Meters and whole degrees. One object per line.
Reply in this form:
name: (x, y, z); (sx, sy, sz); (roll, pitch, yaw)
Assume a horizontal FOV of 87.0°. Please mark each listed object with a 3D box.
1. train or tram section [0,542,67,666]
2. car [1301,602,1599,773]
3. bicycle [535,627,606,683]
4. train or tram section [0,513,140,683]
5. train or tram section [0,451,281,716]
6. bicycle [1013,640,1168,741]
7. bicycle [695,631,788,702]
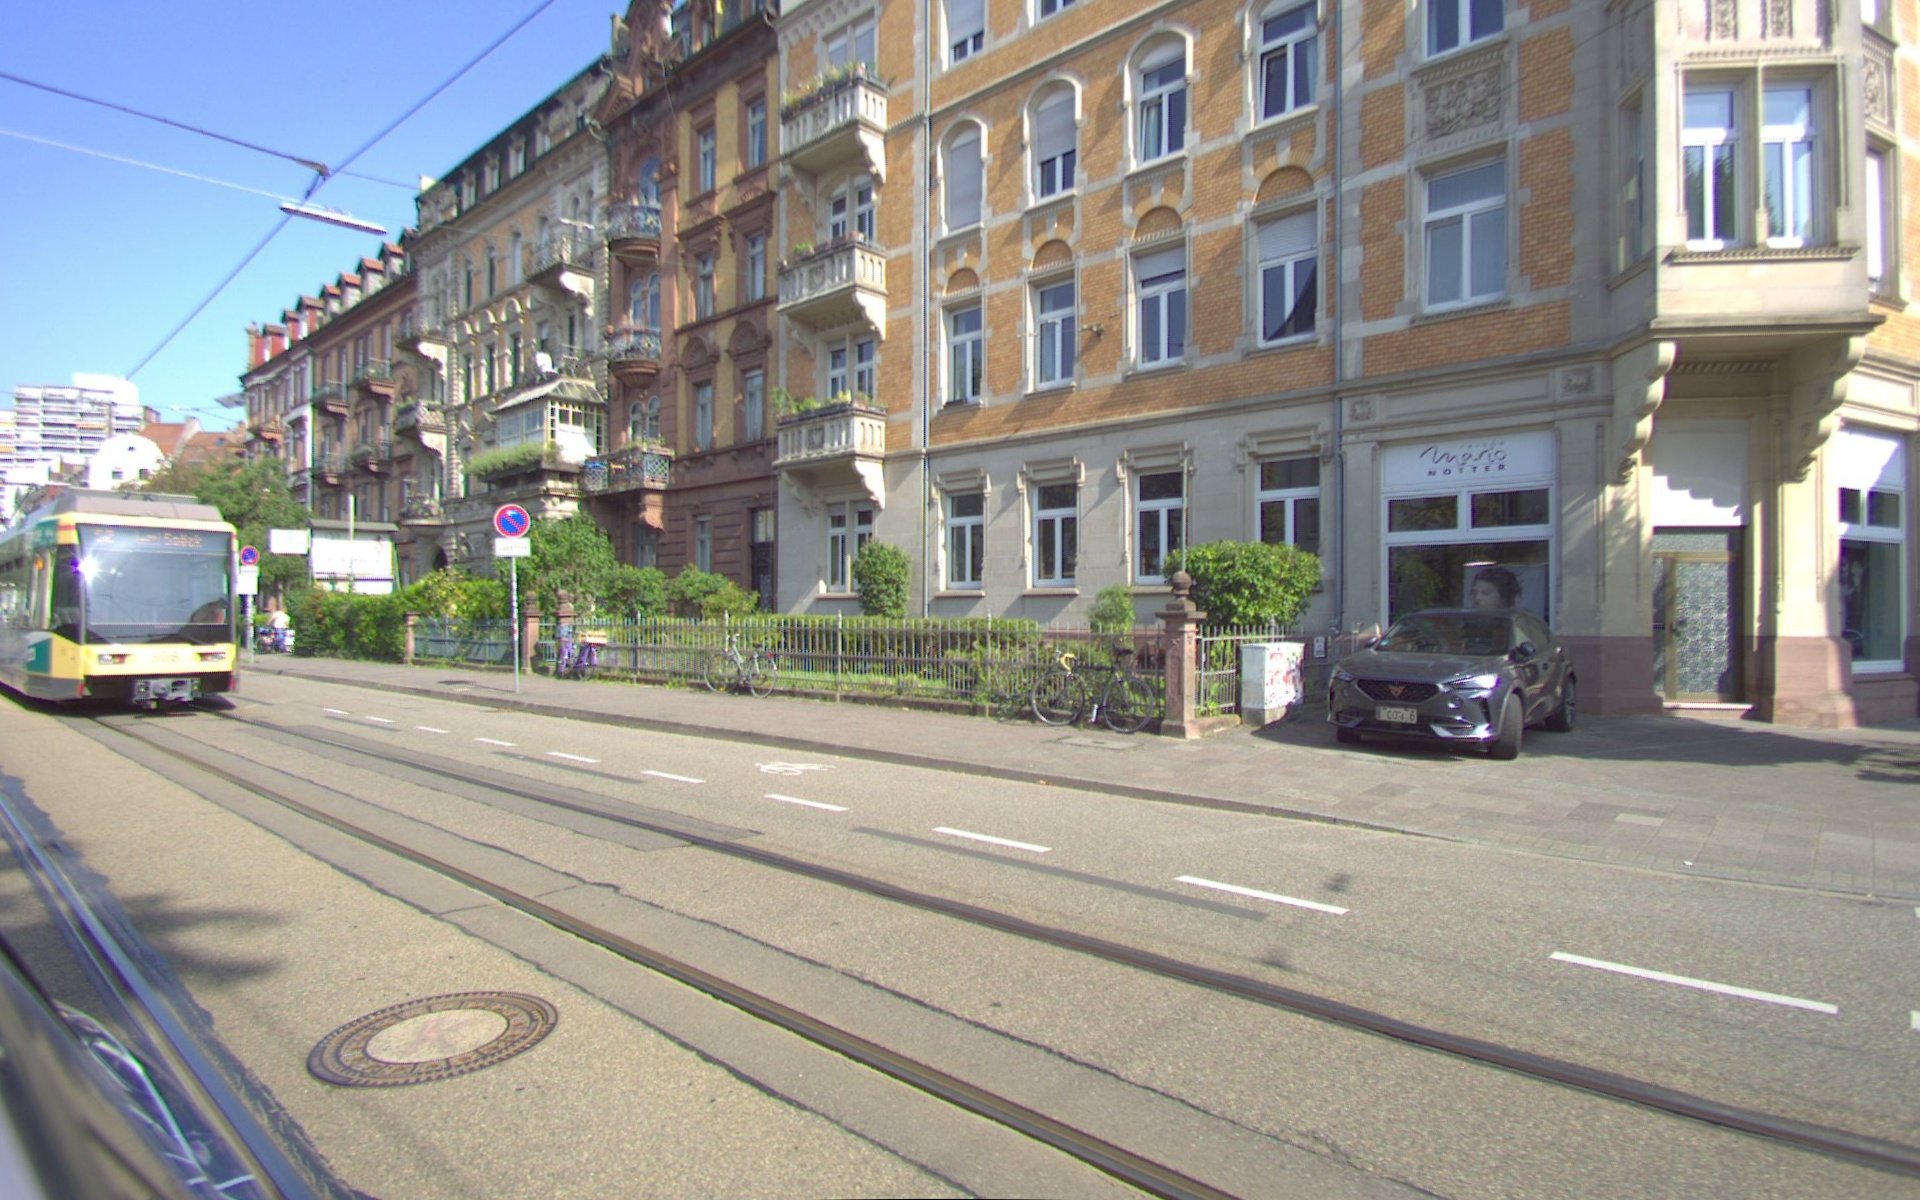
train or tram section: (-33.059, 0.236, 34.124); (15.428, 3.532, 2.705); (-1, -1, 42)
car: (5.724, 0.806, 11.556); (2.064, 1.554, 4.093); (0, 0, 41)
bicycle: (-8.035, 1.111, 20.852); (1.840, 1.066, 0.600); (-1, 2, 44)
train or tram section: (-23.327, 0.043, 25.345); (10.773, 3.532, 2.705); (-1, -1, 42)
train or tram section: (-15.315, -0.132, 18.134); (10.773, 3.532, 2.705); (-1, -1, 42)
bicycle: (1.530, 1.043, 12.109); (1.840, 1.066, 0.539); (-1, 2, 44)
bicycle: (-3.653, 1.075, 16.851); (1.840, 1.066, 0.539); (-1, 2, 44)
